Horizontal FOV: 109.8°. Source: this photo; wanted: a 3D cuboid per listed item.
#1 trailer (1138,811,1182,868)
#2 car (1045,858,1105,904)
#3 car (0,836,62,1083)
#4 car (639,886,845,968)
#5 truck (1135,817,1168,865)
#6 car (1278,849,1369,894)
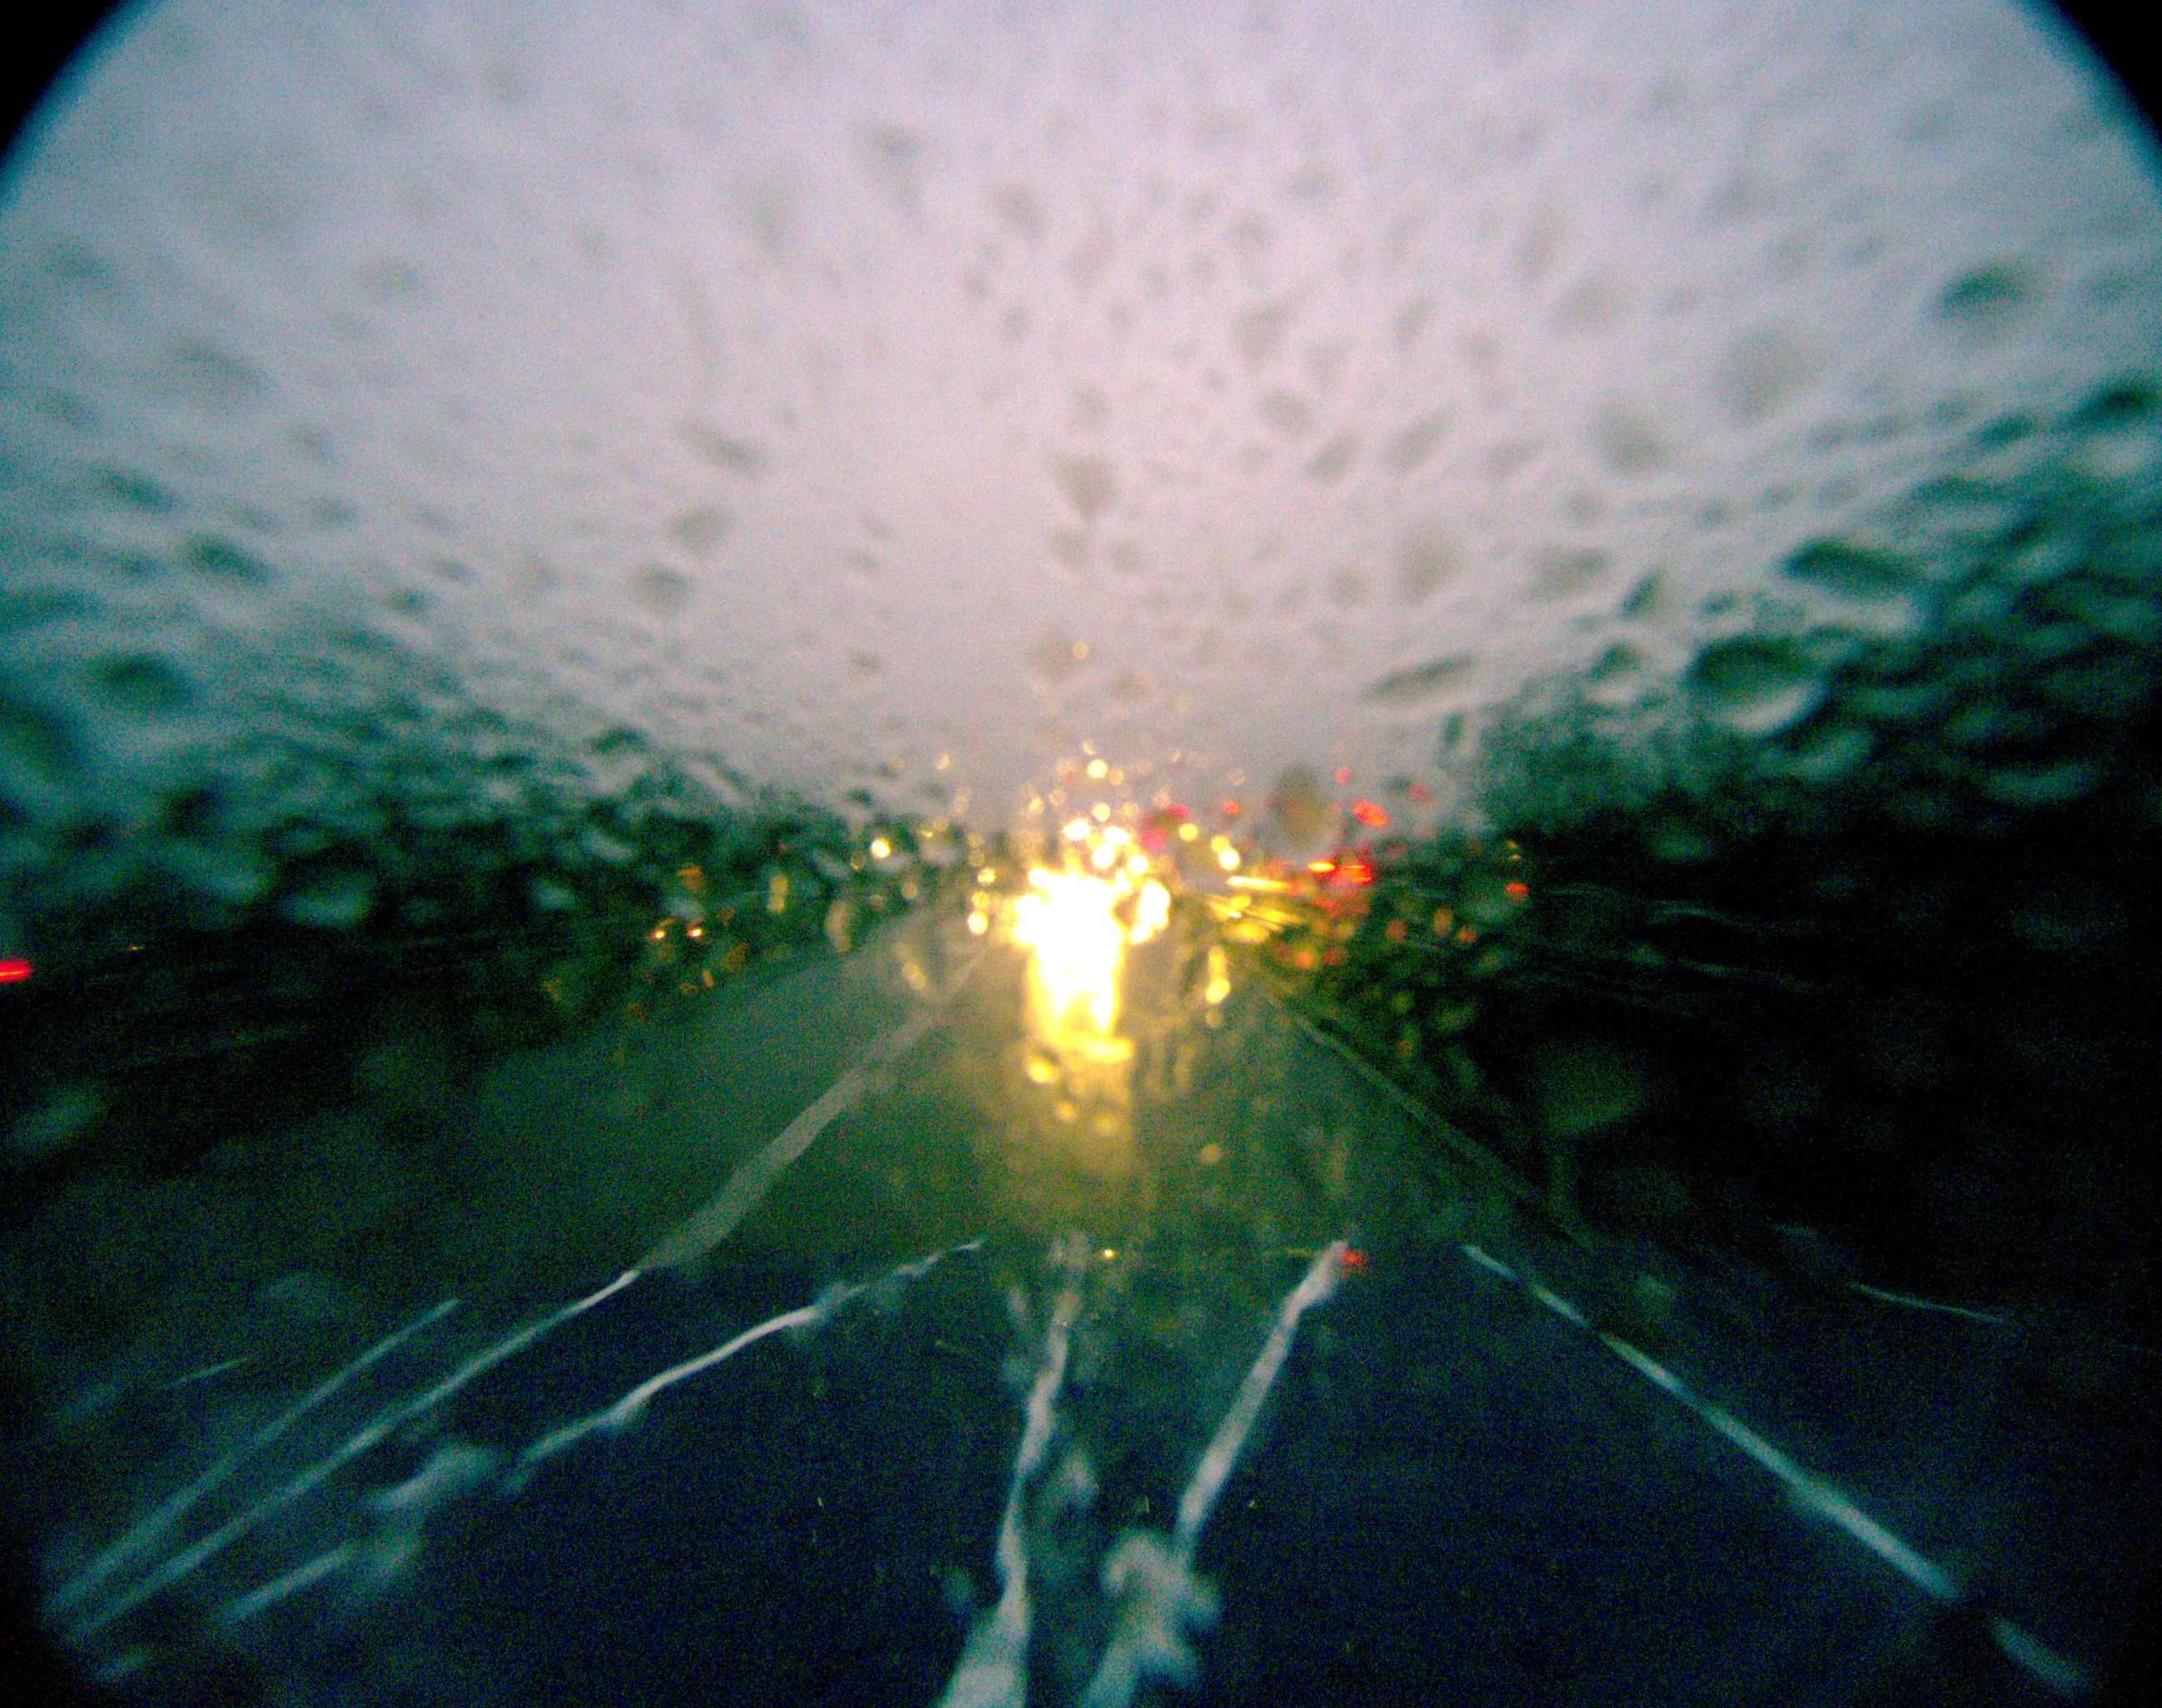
[{"bbox_3d":[6.967,-1.199,68.710,2.634,4.558,13.324,-2,0,1],"label":"trailer"},{"bbox_3d":[-0.140,0.938,27.768,1.886,1.513,4.002,-2,-1,3],"label":"car"},{"bbox_3d":[-15.810,1.611,7.580,2.285,2.947,6.401,-10,-2,41],"label":"car"},{"bbox_3d":[-7.945,1.669,18.301,1.738,1.406,4.384,-5,0,24],"label":"car"},{"bbox_3d":[6.968,-1.263,75.837,2.601,4.553,6.357,-1,0,0],"label":"truck"},{"bbox_3d":[9.620,0.717,30.529,2.099,1.584,4.479,-2,-2,-1],"label":"car"}]
